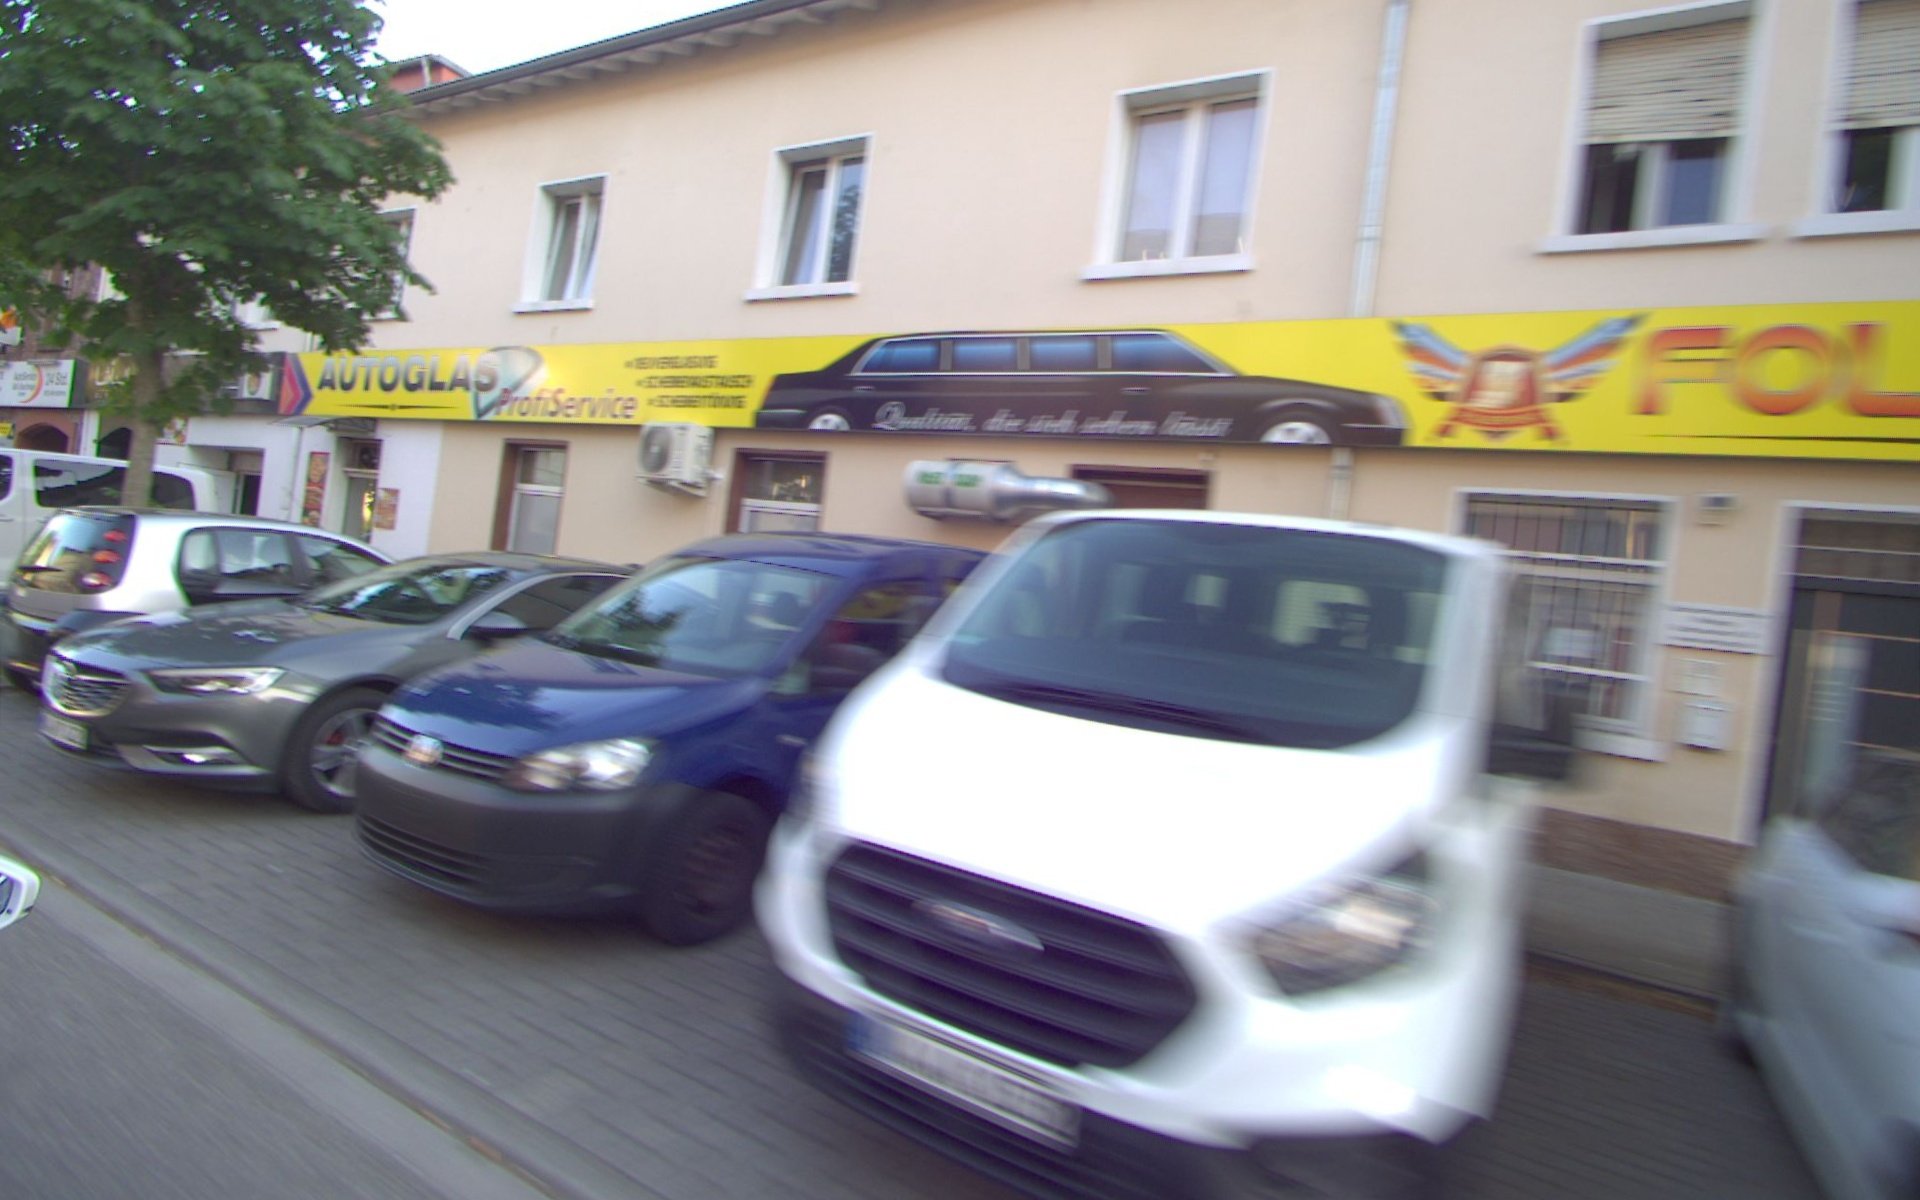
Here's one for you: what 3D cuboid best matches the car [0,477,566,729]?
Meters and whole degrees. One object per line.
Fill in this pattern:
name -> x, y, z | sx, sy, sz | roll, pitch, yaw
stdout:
car -> -5.427, 0.035, 8.306 | 1.652, 1.516, 3.790 | 7, 1, 28

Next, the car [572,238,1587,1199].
car -> 1.256, 0.619, 4.309 | 2.117, 2.125, 4.966 | 6, -2, 34

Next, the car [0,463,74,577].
car -> -15.861, -1.343, 14.149 | 1.967, 1.653, 4.695 | 8, 3, 31

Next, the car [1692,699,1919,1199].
car -> 3.372, 1.190, 2.677 | 1.692, 1.584, 4.042 | 7, -2, 30

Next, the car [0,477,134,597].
car -> -13.542, -0.936, 13.027 | 1.860, 1.516, 3.987 | 7, 3, 31

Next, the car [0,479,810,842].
car -> -3.347, 0.384, 6.948 | 1.966, 1.514, 4.731 | 7, -1, 29

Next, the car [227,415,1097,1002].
car -> -1.093, 0.374, 5.582 | 1.967, 1.882, 4.295 | 7, 1, 31

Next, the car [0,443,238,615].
car -> -11.590, -0.913, 11.815 | 1.978, 1.886, 4.588 | 7, 2, 31
